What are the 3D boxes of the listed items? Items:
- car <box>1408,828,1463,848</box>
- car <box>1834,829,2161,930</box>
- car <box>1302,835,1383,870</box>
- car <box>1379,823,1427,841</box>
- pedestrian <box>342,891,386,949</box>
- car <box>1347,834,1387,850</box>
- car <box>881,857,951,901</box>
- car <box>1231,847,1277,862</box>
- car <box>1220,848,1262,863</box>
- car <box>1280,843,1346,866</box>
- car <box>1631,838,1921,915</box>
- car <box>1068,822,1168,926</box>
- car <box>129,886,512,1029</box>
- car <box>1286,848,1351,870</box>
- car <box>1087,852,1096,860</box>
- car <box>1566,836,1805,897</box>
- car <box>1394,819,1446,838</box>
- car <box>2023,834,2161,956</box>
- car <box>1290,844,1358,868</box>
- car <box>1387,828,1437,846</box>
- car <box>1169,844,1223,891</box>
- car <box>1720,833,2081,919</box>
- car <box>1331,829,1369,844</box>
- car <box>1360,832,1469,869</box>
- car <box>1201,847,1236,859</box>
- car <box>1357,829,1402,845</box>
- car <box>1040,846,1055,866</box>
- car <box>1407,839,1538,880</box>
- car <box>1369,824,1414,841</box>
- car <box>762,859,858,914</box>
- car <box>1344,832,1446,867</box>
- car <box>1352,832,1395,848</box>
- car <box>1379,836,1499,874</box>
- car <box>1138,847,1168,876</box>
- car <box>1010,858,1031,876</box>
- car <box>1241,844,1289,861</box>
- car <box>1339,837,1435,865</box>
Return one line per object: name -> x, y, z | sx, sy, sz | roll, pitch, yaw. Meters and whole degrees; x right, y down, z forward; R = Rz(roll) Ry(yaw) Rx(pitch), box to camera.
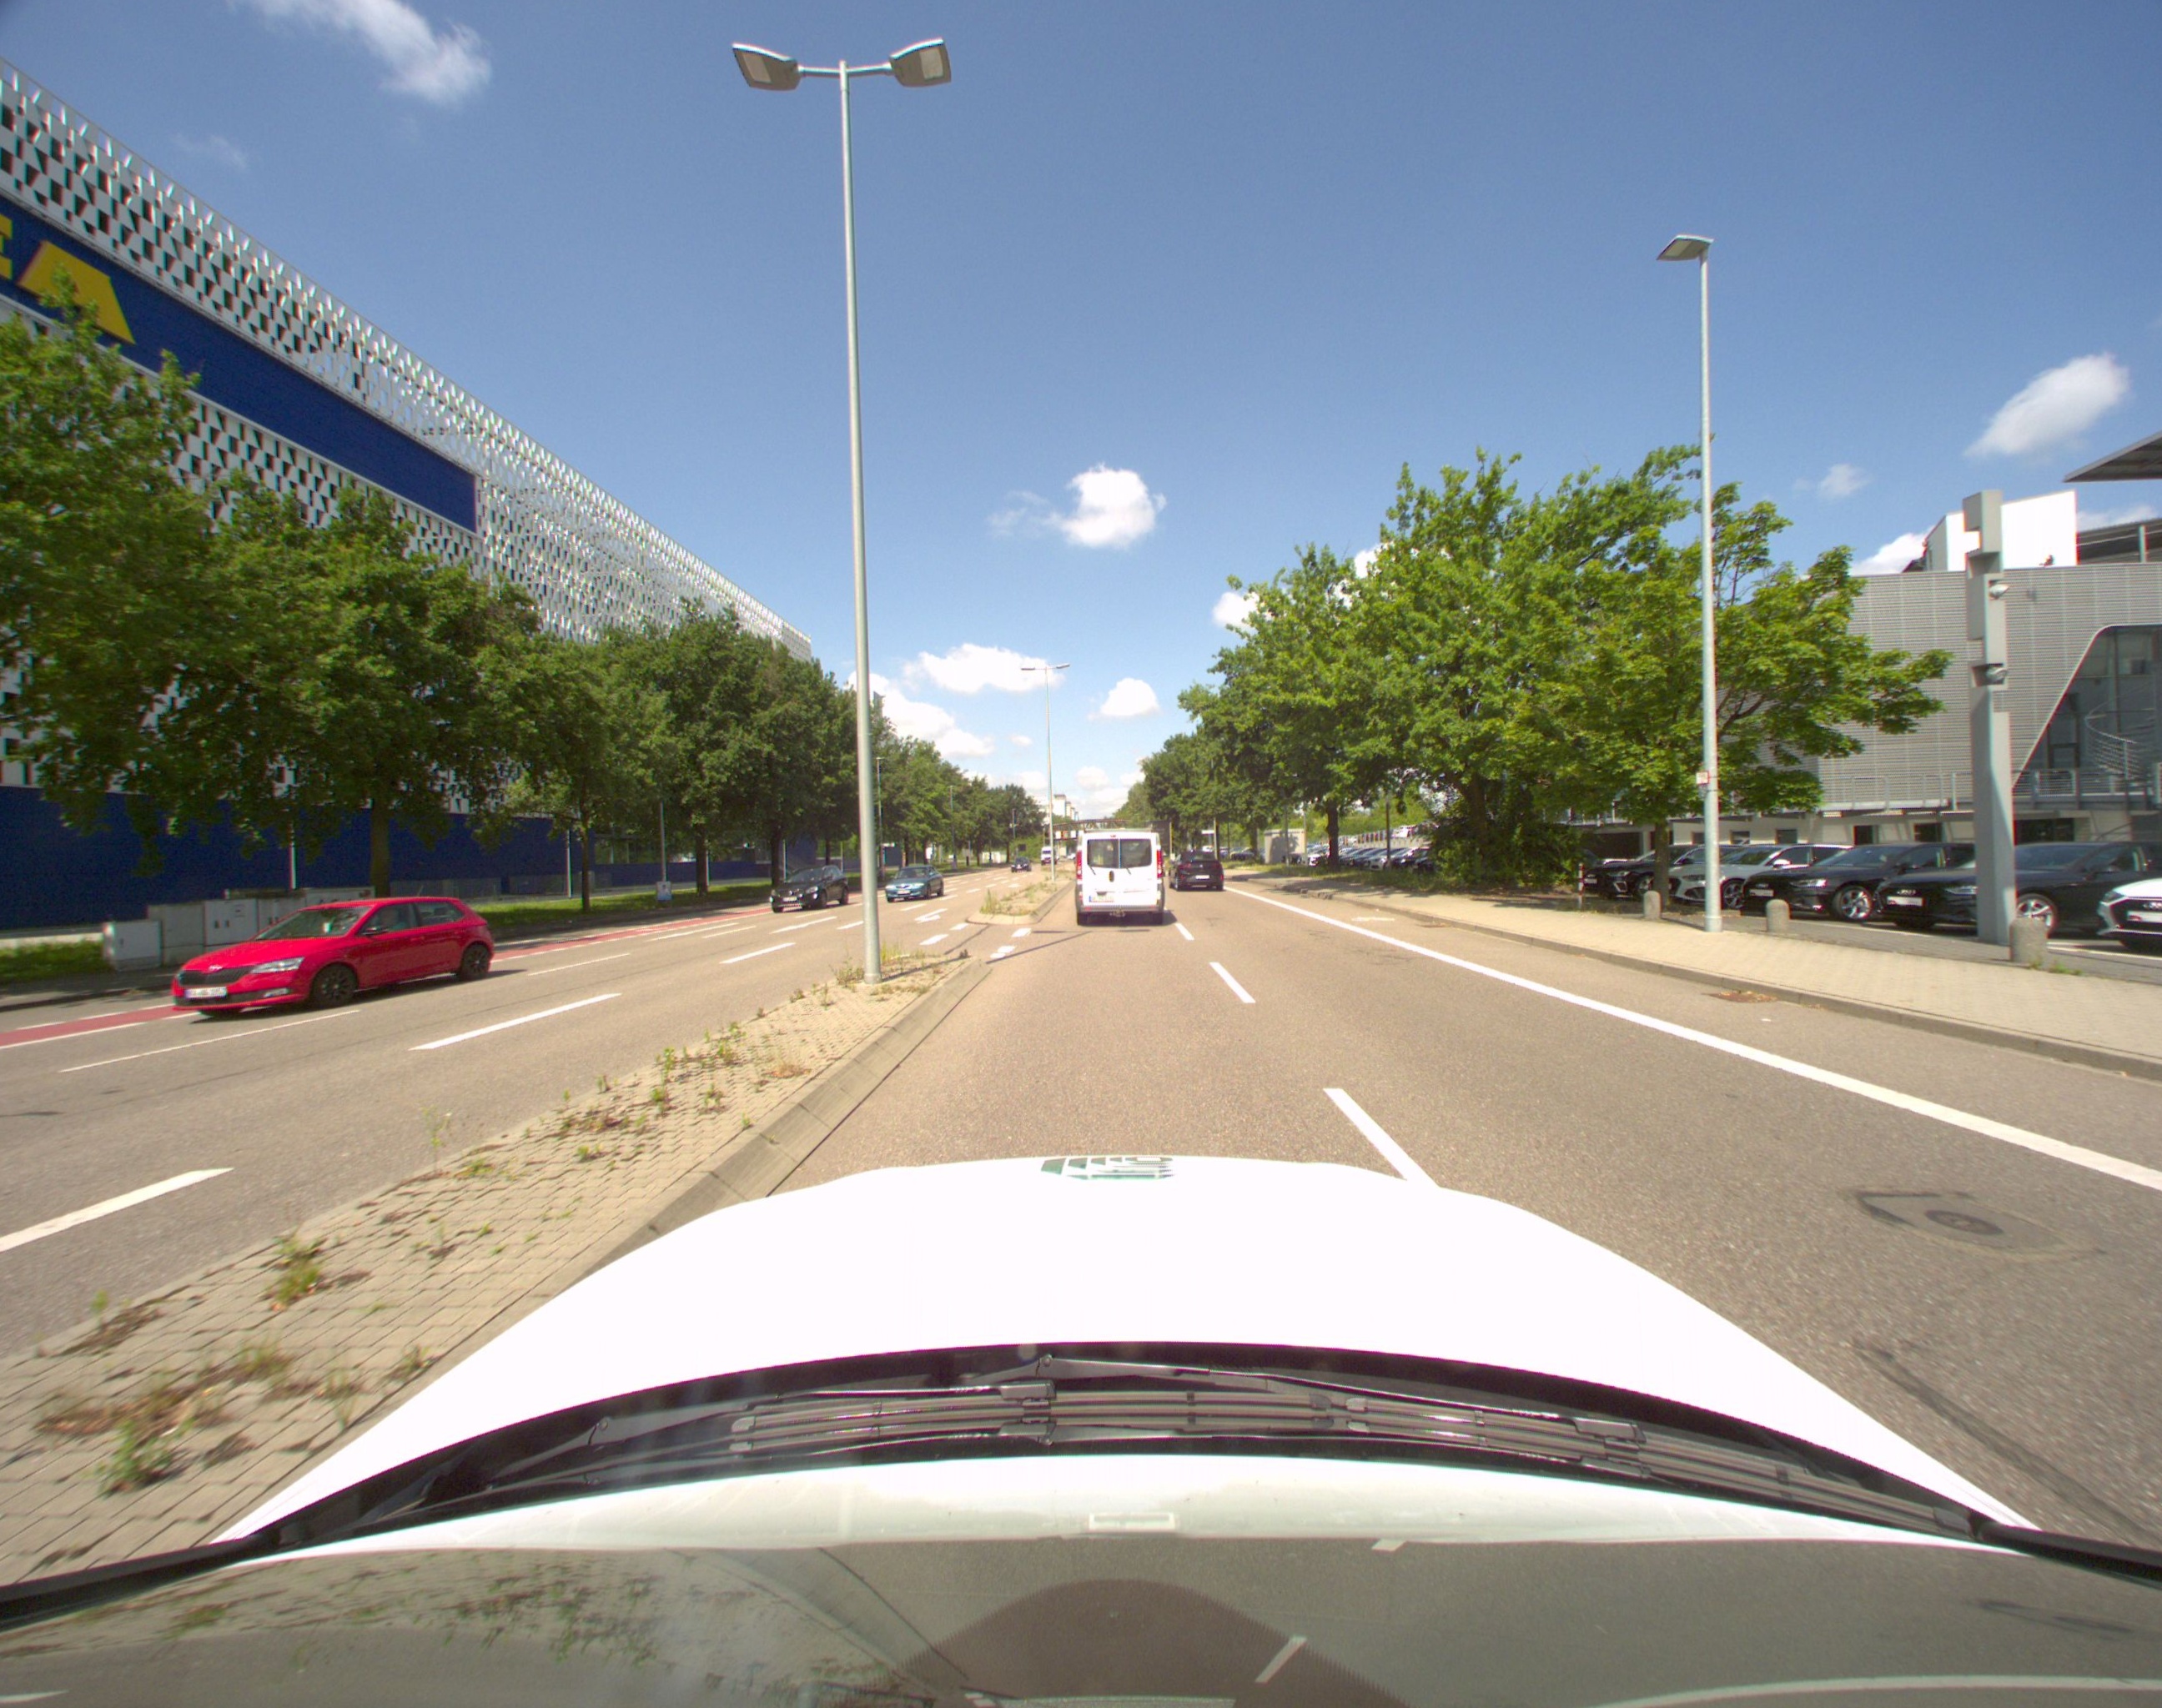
car -> 33.032, -1.521, 75.890 | 4.334, 1.774, 1.939 | -1, 2, 4
car -> 14.473, 0.354, 12.192 | 4.558, 1.297, 1.908 | 2, 2, 1
car -> 16.675, -0.114, 52.055 | 4.558, 2.049, 1.908 | -1, 2, 1
car -> 33.894, -2.346, 85.831 | 4.334, 1.774, 1.939 | -1, 2, 4
pedestrian -> -20.257, 1.847, 23.008 | 0.501, 1.555, 0.761 | -2, 0, 2
car -> 34.914, -1.472, 99.421 | 4.334, 1.774, 1.939 | -1, 2, 4
car -> -6.771, 0.963, 33.987 | 1.767, 1.548, 4.821 | -4, 0, 1
car -> 18.079, 0.041, 85.218 | 4.341, 1.512, 1.936 | -1, 2, 0
car -> 17.684, 0.163, 90.236 | 4.341, 1.512, 1.936 | -1, 2, 0
car -> 17.159, 0.051, 60.390 | 4.338, 1.513, 1.856 | -2, 0, 2
car -> 14.777, 0.430, 17.521 | 4.558, 1.404, 1.908 | 2, 2, 1
car -> 0.888, 0.358, 18.716 | 1.964, 2.059, 4.569 | -1, 1, 3
car -> -10.901, 1.372, 12.187 | 1.680, 1.483, 4.127 | -4, 0, 2
car -> 16.780, 0.344, 57.664 | 4.091, 1.445, 1.856 | -1, 0, 2
car -> 2.437, 0.509, 192.516 | 1.985, 1.771, 4.004 | -1, 2, 3
car -> 14.979, 0.276, 20.387 | 4.558, 1.404, 1.908 | 0, 2, 1
car -> 33.612, -2.570, 80.793 | 4.334, 1.774, 1.939 | -1, 2, 4
car -> 14.145, 0.417, 9.292 | 4.558, 1.297, 1.908 | -1, 2, 1
car -> 16.367, 0.128, 54.983 | 4.092, 1.404, 1.818 | -2, 0, 1
car -> 33.811, -1.727, 83.209 | 4.334, 1.774, 1.939 | -1, 2, 4
car -> 4.442, 0.483, 31.863 | 1.766, 1.629, 4.004 | -1, 1, 3
car -> 14.583, 0.346, 14.718 | 4.558, 1.383, 1.908 | 1, 2, 1
car -> 34.486, -2.245, 104.524 | 4.334, 1.774, 1.939 | -1, 2, 4
car -> 16.193, -0.189, 39.679 | 4.558, 1.678, 1.908 | -1, 2, 1
car -> 18.431, -0.146, 109.295 | 4.341, 1.512, 1.936 | -1, 2, 0
car -> 33.448, -1.934, 91.393 | 4.334, 1.774, 1.939 | -1, 2, 4
car -> -5.031, 0.314, 121.730 | 2.018, 2.893, 6.376 | -2, 0, -2
car -> 16.353, 0.225, 34.192 | 4.558, 1.499, 1.908 | -2, 0, 1
car -> 33.893, -2.345, 88.970 | 4.334, 1.774, 1.939 | -1, 2, 4
car -> -10.325, 1.177, 31.501 | 1.921, 1.755, 4.821 | -4, 0, 1
car -> 16.186, -0.264, 42.097 | 4.558, 1.678, 1.908 | -1, 2, 1
car -> 33.723, -1.619, 94.117 | 4.334, 1.774, 1.939 | -1, 2, 4
car -> 16.162, 0.048, 36.928 | 4.558, 1.499, 1.908 | -2, 0, 1
car -> 4.446, 0.417, 50.713 | 1.766, 1.629, 4.004 | -1, 1, 3
car -> -6.130, 1.325, 83.408 | 1.733, 1.610, 4.240 | -5, 0, -1
car -> 17.985, -0.162, 79.747 | 4.341, 1.512, 1.936 | -1, 2, 0
car -> 16.658, -0.192, 44.547 | 4.558, 1.404, 1.908 | -1, 2, 1
